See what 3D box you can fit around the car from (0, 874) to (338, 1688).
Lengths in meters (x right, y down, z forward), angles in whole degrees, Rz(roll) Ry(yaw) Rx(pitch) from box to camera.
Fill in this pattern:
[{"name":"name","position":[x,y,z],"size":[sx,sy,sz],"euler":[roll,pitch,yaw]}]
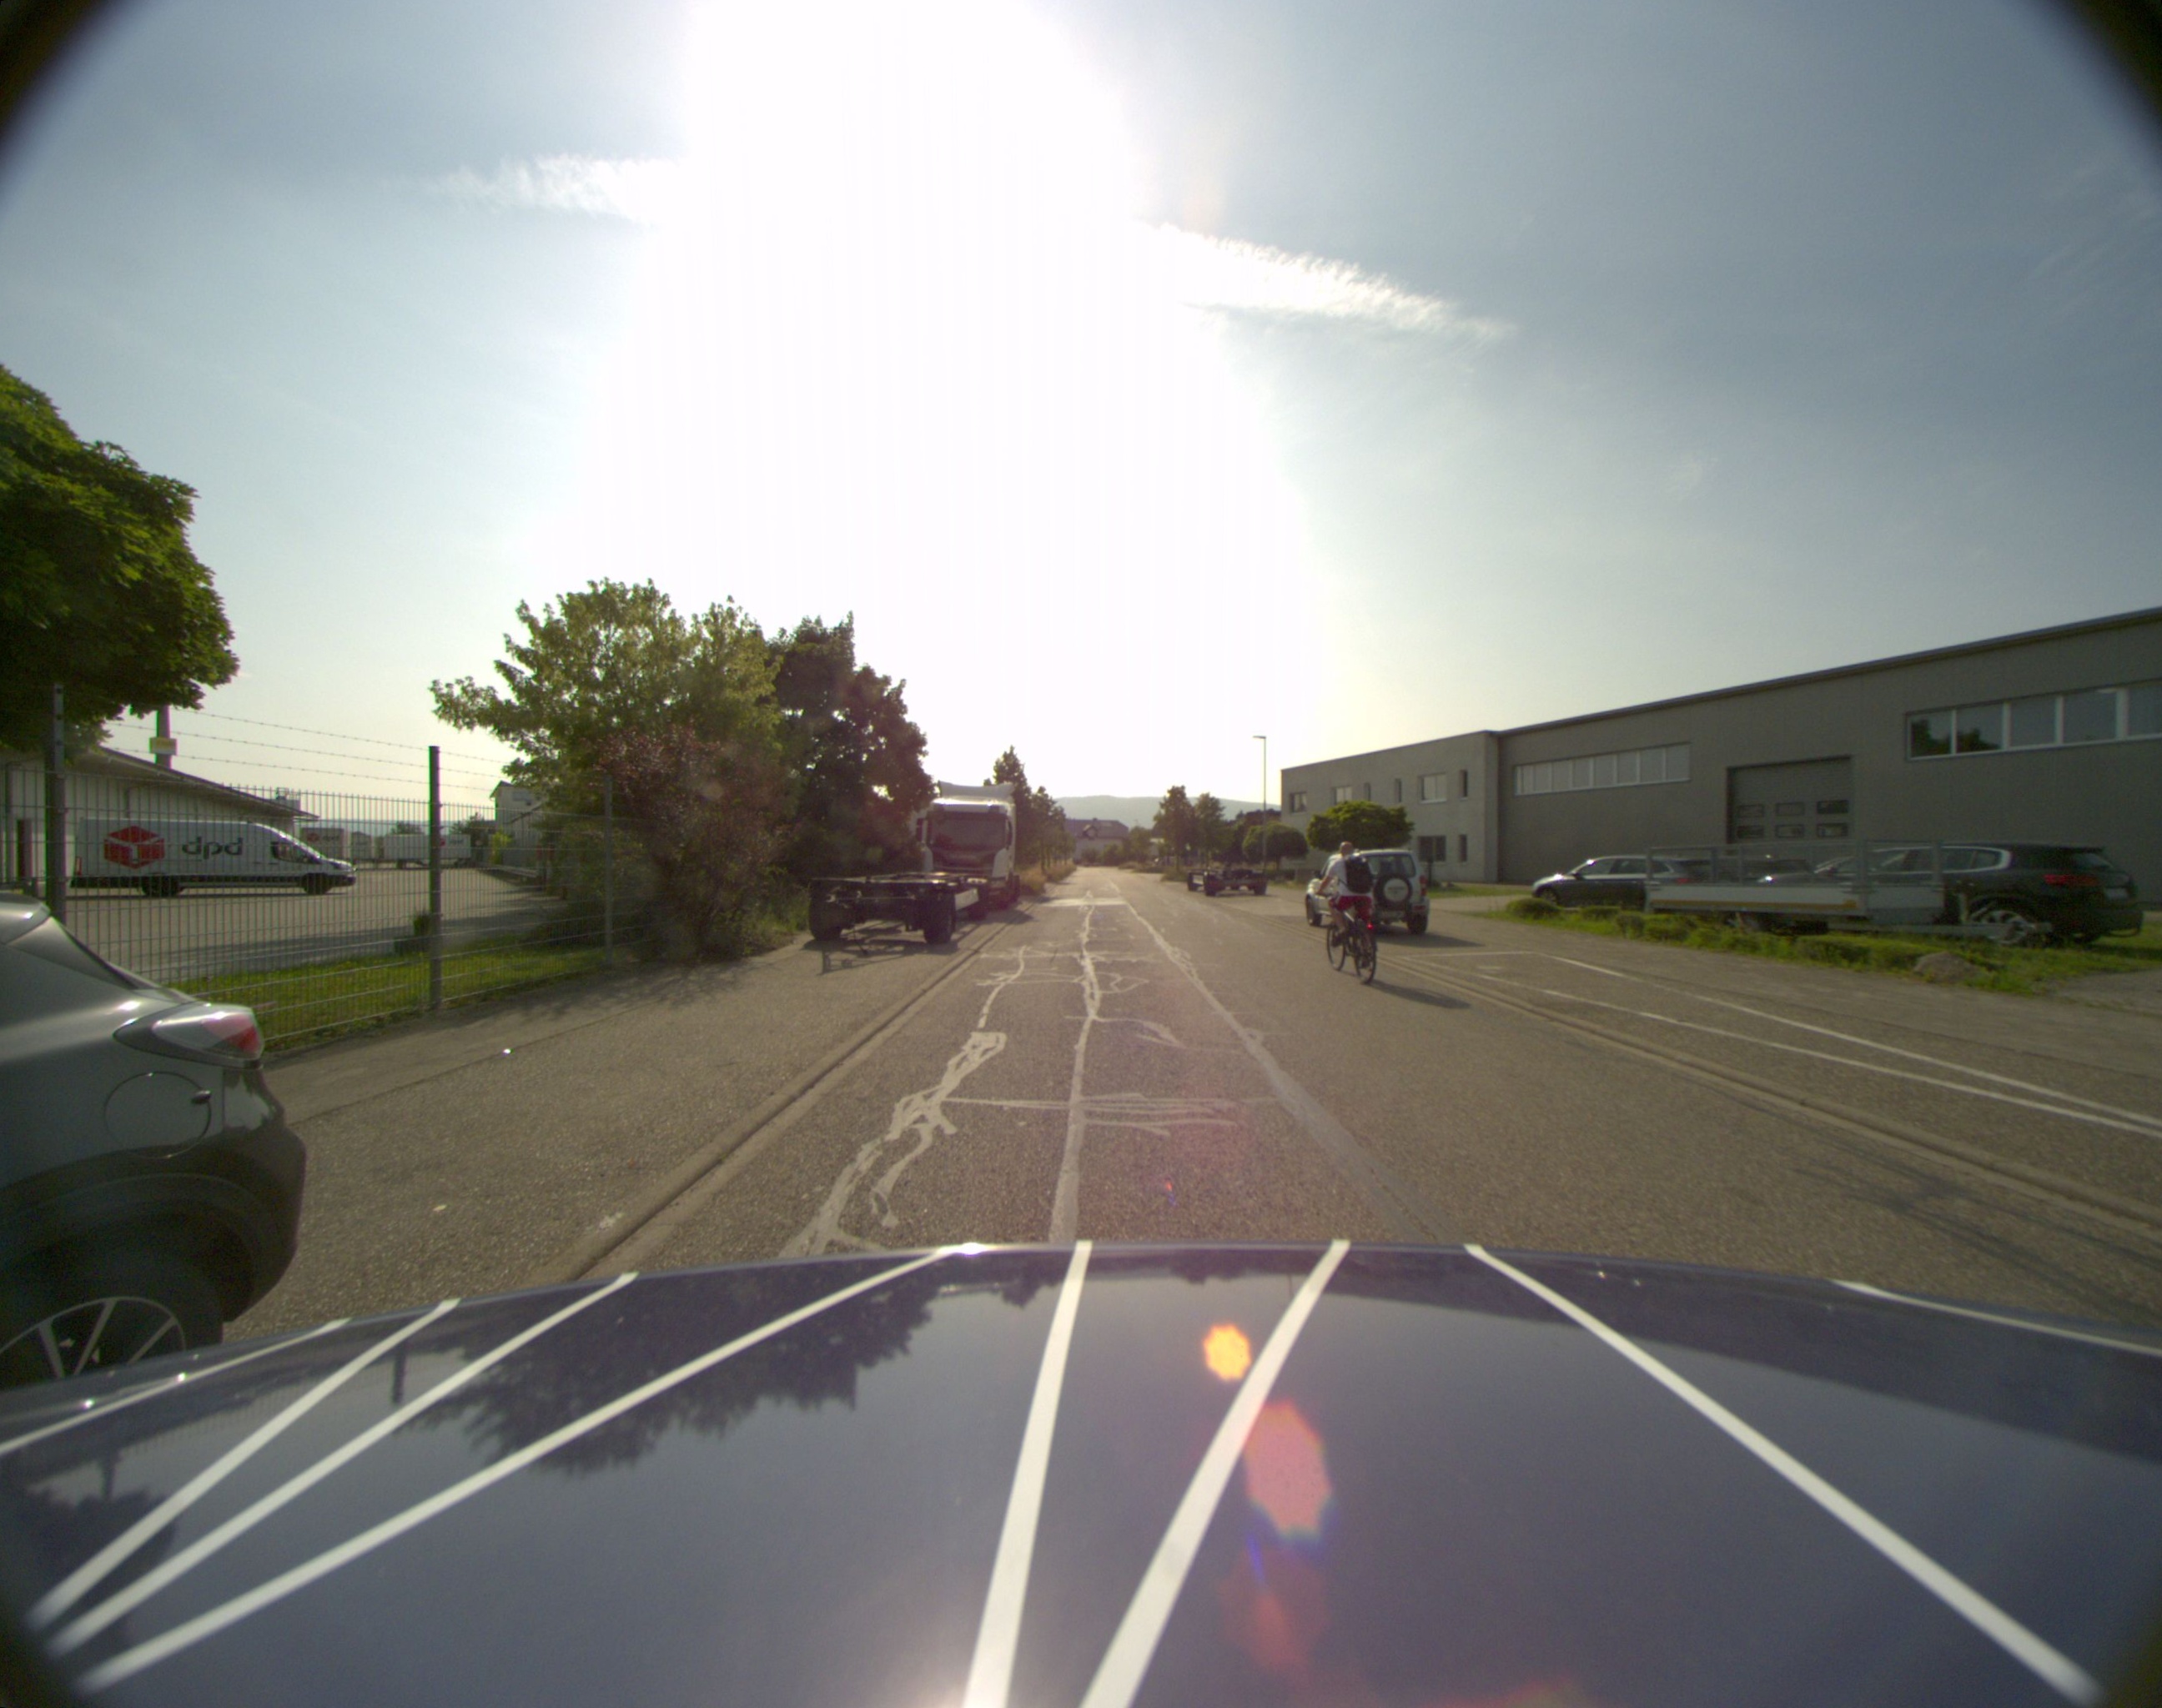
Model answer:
[{"name":"car","position":[-3.087,0.865,0.111],"size":[1.885,1.565,4.113],"euler":[2,1,1]}]

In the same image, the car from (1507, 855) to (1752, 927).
[{"name":"car","position":[12.725,0.769,18.034],"size":[1.983,1.468,4.415],"euler":[-1,0,-17]}]

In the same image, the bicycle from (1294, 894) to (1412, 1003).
[{"name":"bicycle","position":[3.448,1.144,9.865],"size":[0.717,1.115,2.219],"euler":[2,0,1]}]

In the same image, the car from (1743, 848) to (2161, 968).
[{"name":"car","position":[14.439,0.742,12.923],"size":[1.997,1.648,4.415],"euler":[-1,0,-17]}]

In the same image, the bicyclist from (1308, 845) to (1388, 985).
[{"name":"bicyclist","position":[3.444,0.746,9.886],"size":[0.641,1.709,1.165],"euler":[0,0,1]}]

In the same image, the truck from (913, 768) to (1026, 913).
[{"name":"truck","position":[-3.338,-0.377,24.287],"size":[2.699,3.941,6.047],"euler":[2,0,-1]}]

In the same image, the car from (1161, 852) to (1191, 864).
[{"name":"car","position":[13.163,0.563,105.328],"size":[3.996,1.718,2.000],"euler":[0,0,2]}]

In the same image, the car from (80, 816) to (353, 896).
[{"name":"car","position":[-31.001,0.064,27.698],"size":[6.286,2.633,2.206],"euler":[0,1,-40]}]

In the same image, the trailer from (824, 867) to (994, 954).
[{"name":"trailer","position":[-3.244,0.996,16.178],"size":[1.943,1.228,7.450],"euler":[2,0,0]}]

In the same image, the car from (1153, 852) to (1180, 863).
[{"name":"car","position":[14.467,0.557,128.295],"size":[4.004,1.783,1.996],"euler":[0,0,-21]}]

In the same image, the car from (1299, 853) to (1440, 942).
[{"name":"car","position":[5.879,0.813,15.935],"size":[1.601,1.641,3.644],"euler":[-1,0,1]}]

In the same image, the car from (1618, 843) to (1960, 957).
[{"name":"car","position":[11.605,0.646,12.834],"size":[1.840,1.563,3.811],"euler":[-2,1,-16]}]

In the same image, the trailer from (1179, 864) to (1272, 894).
[{"name":"trailer","position":[6.396,1.058,35.260],"size":[2.552,1.068,9.732],"euler":[-1,0,1]}]
